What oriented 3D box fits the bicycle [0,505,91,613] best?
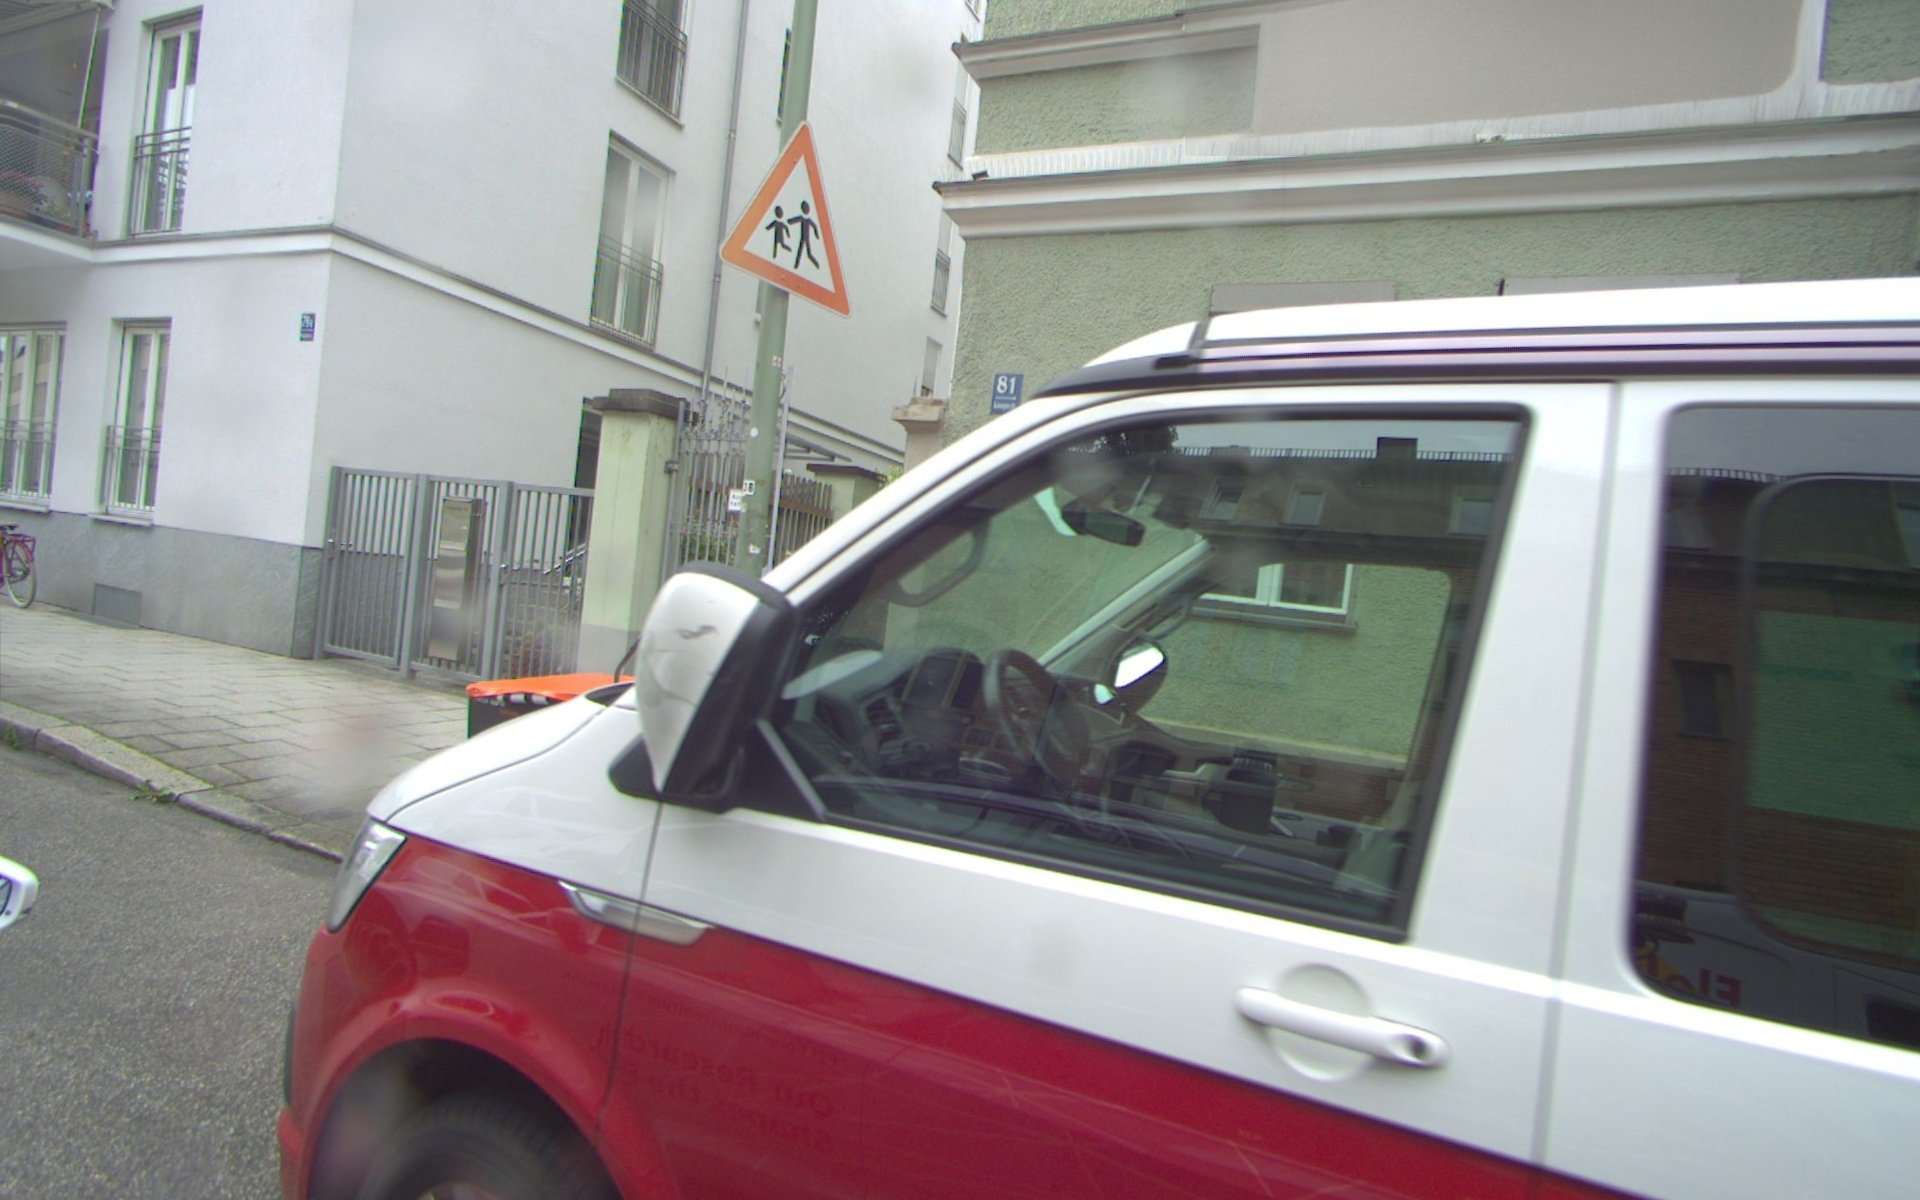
[{"bbox_3d":[-10.169,-0.471,10.672,1.801,1.041,0.679,5,0,24],"label":"bicycle"}]

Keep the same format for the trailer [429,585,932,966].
[{"bbox_3d":[-1.321,0.640,4.606,2.127,1.200,0.942,7,4,30],"label":"trailer"}]

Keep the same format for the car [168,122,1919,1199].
[{"bbox_3d":[1.122,0.644,1.644,4.509,1.918,1.860,7,-1,25],"label":"car"}]
